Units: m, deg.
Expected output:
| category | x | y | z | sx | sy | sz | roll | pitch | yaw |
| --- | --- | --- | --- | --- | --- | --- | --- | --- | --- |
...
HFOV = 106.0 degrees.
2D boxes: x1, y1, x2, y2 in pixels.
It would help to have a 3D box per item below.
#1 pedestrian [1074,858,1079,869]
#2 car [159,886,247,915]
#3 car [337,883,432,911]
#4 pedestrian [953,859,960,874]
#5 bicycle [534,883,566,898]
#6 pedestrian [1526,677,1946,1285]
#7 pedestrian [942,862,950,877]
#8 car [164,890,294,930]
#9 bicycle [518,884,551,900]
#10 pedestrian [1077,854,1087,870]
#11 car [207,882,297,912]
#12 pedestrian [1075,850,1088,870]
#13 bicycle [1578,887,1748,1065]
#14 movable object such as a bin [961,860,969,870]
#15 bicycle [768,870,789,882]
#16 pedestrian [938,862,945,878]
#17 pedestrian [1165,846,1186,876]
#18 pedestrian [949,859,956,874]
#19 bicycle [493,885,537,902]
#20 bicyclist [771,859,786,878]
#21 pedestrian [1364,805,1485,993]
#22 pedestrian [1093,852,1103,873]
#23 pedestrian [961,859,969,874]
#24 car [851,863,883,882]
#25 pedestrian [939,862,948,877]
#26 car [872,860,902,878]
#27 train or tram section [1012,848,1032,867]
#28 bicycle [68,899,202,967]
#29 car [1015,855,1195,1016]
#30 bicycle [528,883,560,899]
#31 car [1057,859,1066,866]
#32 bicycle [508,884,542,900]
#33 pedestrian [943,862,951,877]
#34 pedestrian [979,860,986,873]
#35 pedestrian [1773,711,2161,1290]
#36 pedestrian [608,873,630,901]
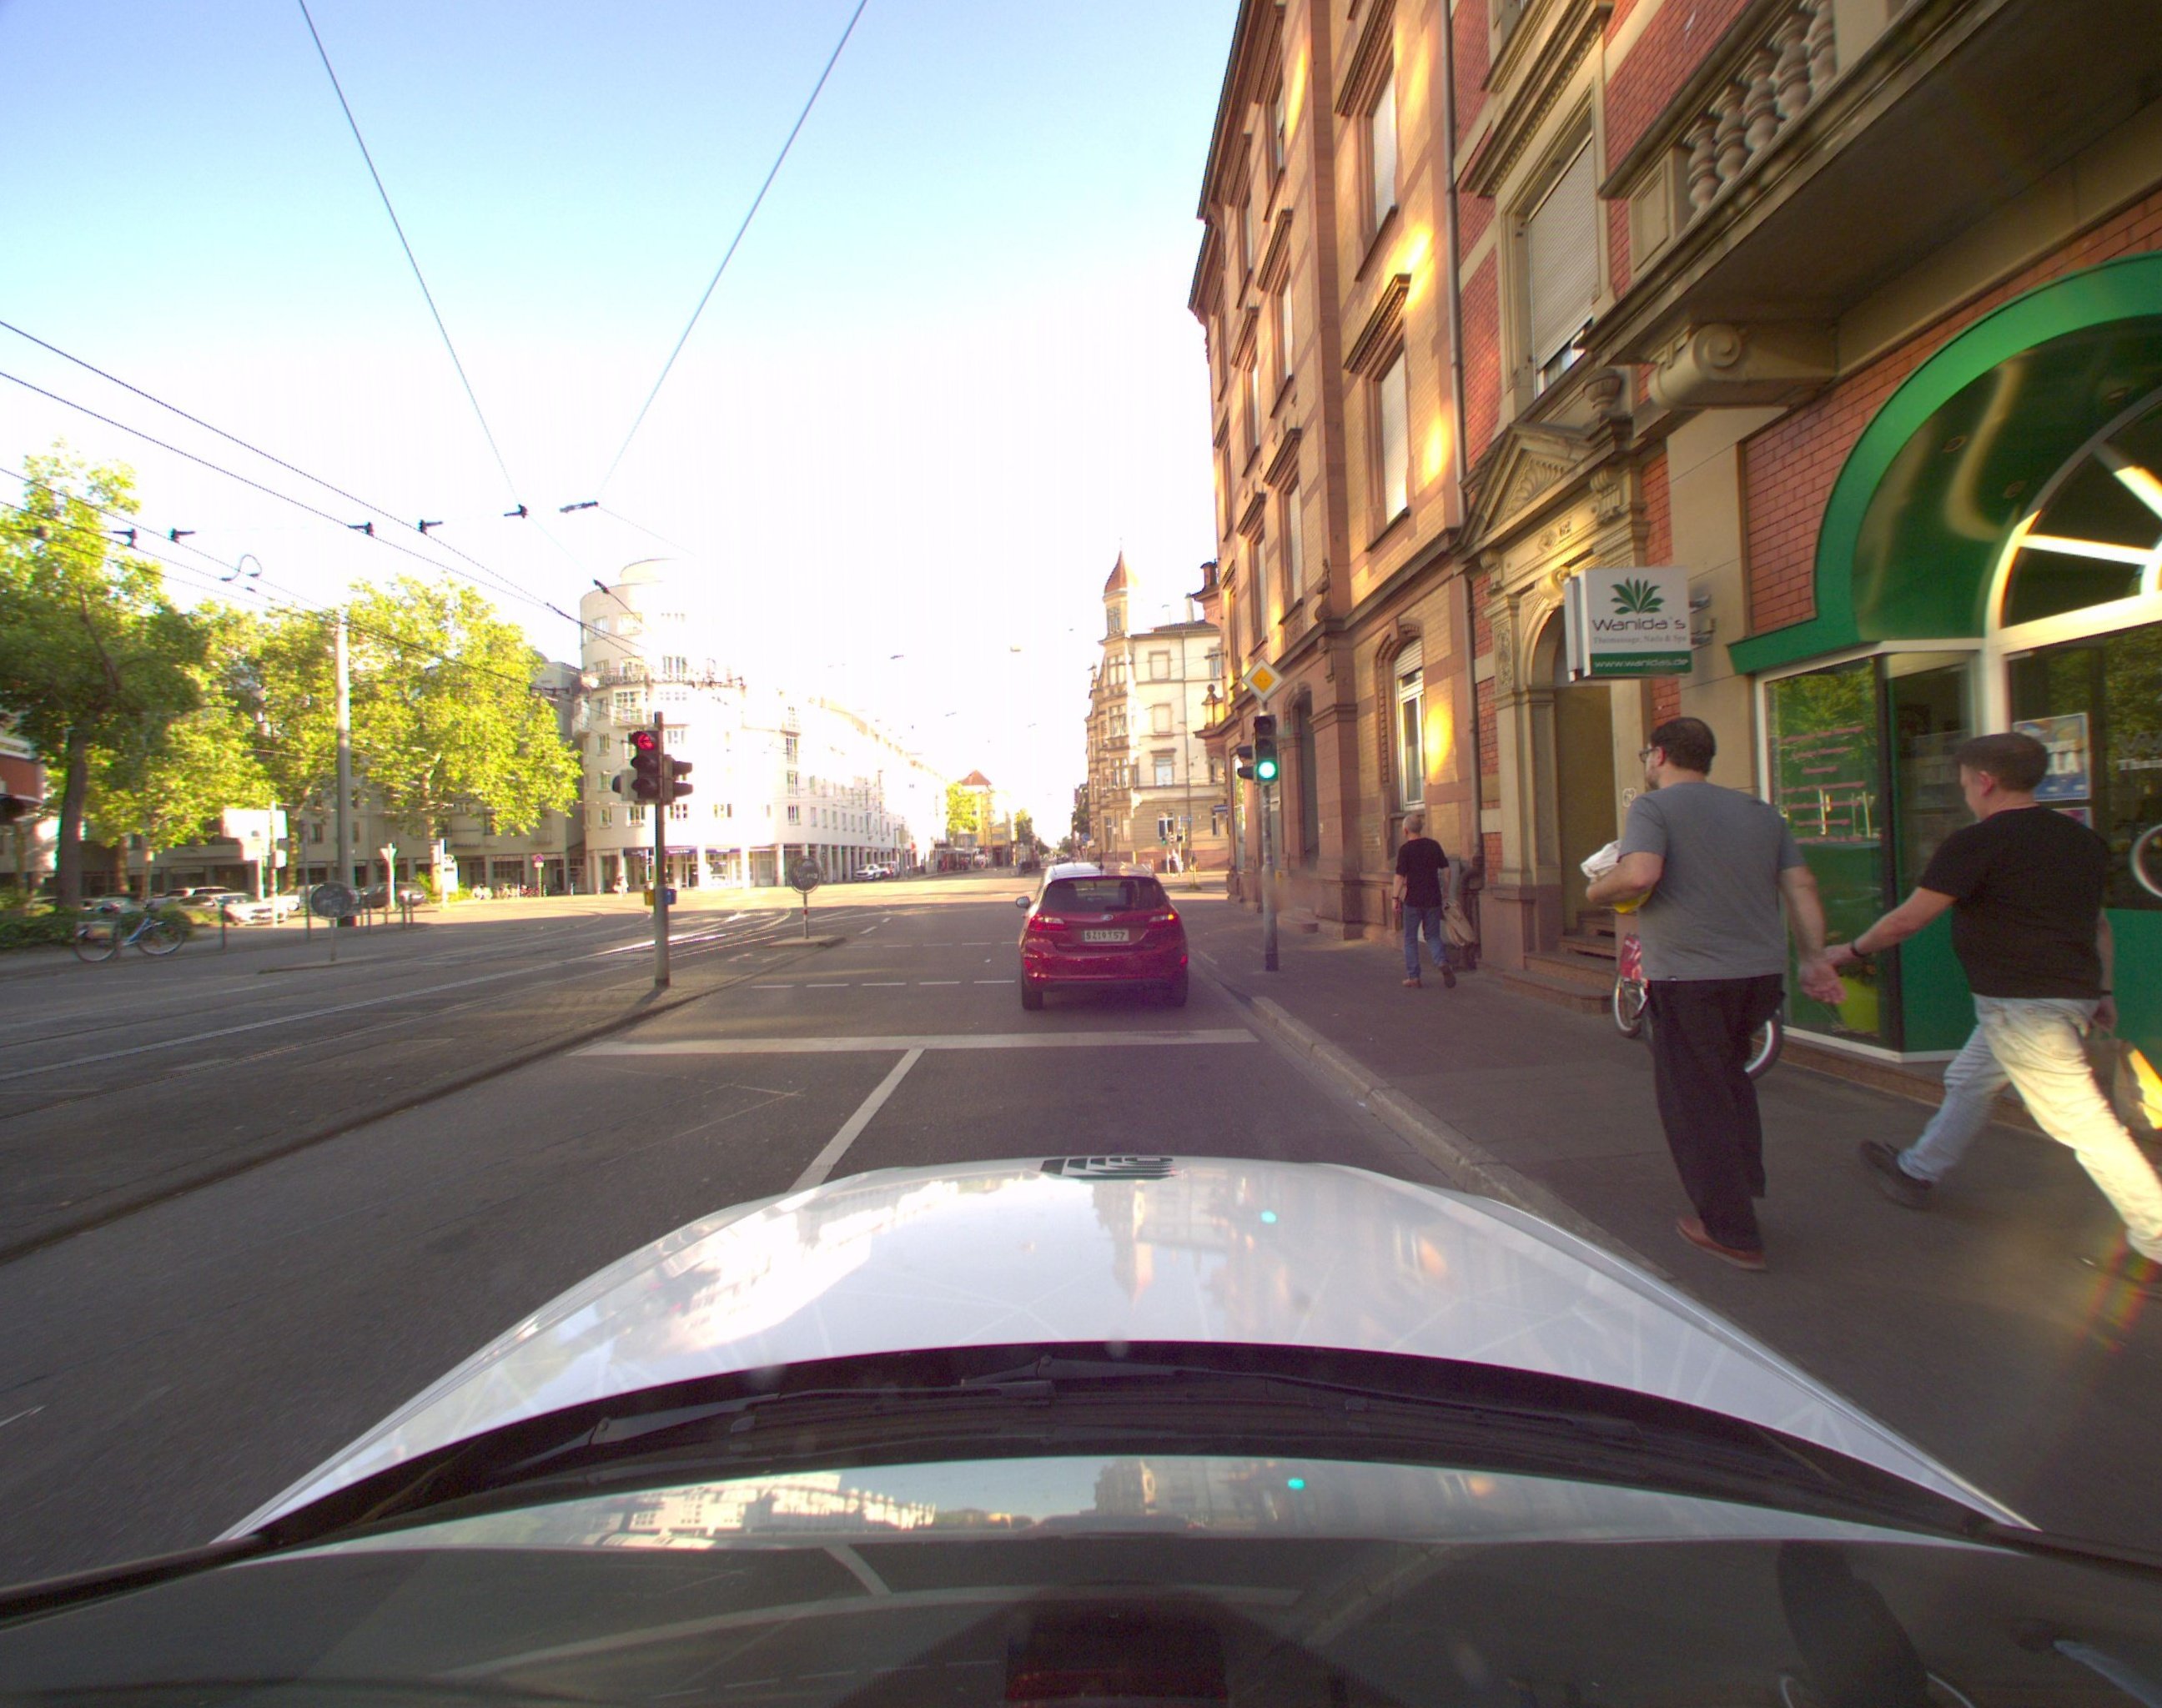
| category | x | y | z | sx | sy | sz | roll | pitch | yaw |
| --- | --- | --- | --- | --- | --- | --- | --- | --- | --- |
| pedestrian | -0.738 | 1.513 | 135.693 | 0.712 | 1.774 | 0.772 | -5 | 1 | -5 |
| car | -60.606 | 3.170 | 56.304 | 1.790 | 1.715 | 3.996 | -2 | -1 | -3 |
| car | -44.468 | 2.740 | 52.069 | 4.423 | 1.421 | 1.892 | -3 | 0 | 2 |
| pedestrian | -15.248 | 1.522 | 99.571 | 0.694 | 1.904 | 0.671 | -2 | -1 | -4 |
| bicycle | -42.126 | 2.888 | 64.589 | 1.935 | 1.107 | 0.819 | -2 | 0 | 1 |
| pedestrian | 2.304 | 0.400 | 2.985 | 0.819 | 1.894 | 0.754 | -3 | 0 | -1 |
| pedestrian | -15.466 | 1.766 | 93.154 | 0.699 | 1.691 | 0.666 | -2 | -1 | -25 |
| car | -36.419 | 2.376 | 34.826 | 4.408 | 1.421 | 1.898 | -3 | -1 | 15 |
| bicycle | -41.913 | 2.887 | 62.496 | 1.934 | 1.107 | 0.819 | -2 | 0 | 3 |
| pedestrian | 0.051 | 0.666 | 69.784 | 0.716 | 1.331 | 0.795 | -4 | -2 | -3 |
| car | -53.393 | 2.731 | 52.555 | 1.790 | 1.715 | 3.996 | -2 | -1 | -3 |
| pedestrian | 0.068 | 0.499 | 70.718 | 0.710 | 1.721 | 0.802 | -5 | -2 | 38 |
| bicycle | 3.860 | 0.758 | 5.496 | 0.342 | 0.996 | 1.243 | -3 | 0 | 8 |
| movable object such as a bin | -15.246 | 1.493 | 107.454 | 0.935 | 1.286 | 0.933 | -2 | -1 | -4 |
| bicycle | -24.803 | 1.801 | 66.898 | 0.838 | 0.927 | 2.265 | -2 | 0 | 0 |
| pedestrian | -15.222 | 1.703 | 88.755 | 0.597 | 1.691 | 0.613 | -2 | -1 | -1 |
| pedestrian | 5.867 | 0.425 | 50.744 | 1.021 | 1.807 | 1.081 | -2 | 0 | -5 |
| pedestrian | -15.629 | 1.514 | 98.772 | 0.694 | 1.904 | 0.671 | -2 | -1 | -4 |
| bicycle | -41.556 | 2.869 | 59.871 | 2.440 | 1.107 | 0.933 | -2 | 0 | -16 |
| bicyclist | -24.817 | 1.199 | 66.915 | 0.838 | 1.467 | 0.896 | -2 | 0 | 0 |
| pedestrian | 3.373 | 0.425 | 8.063 | 0.773 | 1.723 | 0.754 | -3 | 0 | -1 |
| pedestrian | 1.491 | 0.733 | 71.936 | 0.799 | 1.824 | 0.797 | -4 | 0 | -2 |
| pedestrian | -14.399 | 1.536 | 101.076 | 0.930 | 1.904 | 0.880 | -2 | -1 | -4 |
| car | -20.369 | 1.722 | 77.730 | 1.988 | 1.620 | 4.507 | -2 | 0 | -2 |
| pedestrian | -15.356 | 1.733 | 90.815 | 0.756 | 1.733 | 0.523 | -3 | -1 | 40 |
| car | -20.523 | 1.569 | 86.467 | 1.988 | 1.837 | 5.342 | -2 | 0 | -2 |
| train or tram section | -11.713 | 0.700 | 162.545 | 2.876 | 3.490 | 14.164 | -2 | 0 | 0 |
| bicycle | -19.859 | 1.627 | 17.161 | 0.578 | 1.235 | 1.858 | -1 | 0 | 4 |
| car | 0.167 | 0.765 | 9.431 | 1.688 | 1.495 | 3.577 | 0 | 0 | -2 |
| bicycle | -42.040 | 2.887 | 63.723 | 1.935 | 1.107 | 0.819 | -2 | 0 | 1 |
| car | -4.496 | 1.959 | 185.213 | 1.988 | 1.449 | 3.998 | -1 | 0 | -1 |
| bicycle | -41.978 | 2.891 | 61.507 | 1.934 | 1.107 | 0.819 | -2 | 0 | 3 |
| pedestrian | -15.661 | 1.794 | 95.015 | 0.699 | 1.691 | 0.666 | -2 | -1 | -25 |
| pedestrian | -15.220 | 1.885 | 125.450 | 0.880 | 1.904 | 0.929 | -2 | -1 | -17 |
| pedestrian | 3.186 | 0.435 | 2.855 | 0.773 | 1.723 | 0.754 | -3 | 0 | -1 |
| pedestrian | -29.351 | 2.098 | 51.690 | 0.863 | 1.681 | 0.698 | -3 | 1 | 7 |
